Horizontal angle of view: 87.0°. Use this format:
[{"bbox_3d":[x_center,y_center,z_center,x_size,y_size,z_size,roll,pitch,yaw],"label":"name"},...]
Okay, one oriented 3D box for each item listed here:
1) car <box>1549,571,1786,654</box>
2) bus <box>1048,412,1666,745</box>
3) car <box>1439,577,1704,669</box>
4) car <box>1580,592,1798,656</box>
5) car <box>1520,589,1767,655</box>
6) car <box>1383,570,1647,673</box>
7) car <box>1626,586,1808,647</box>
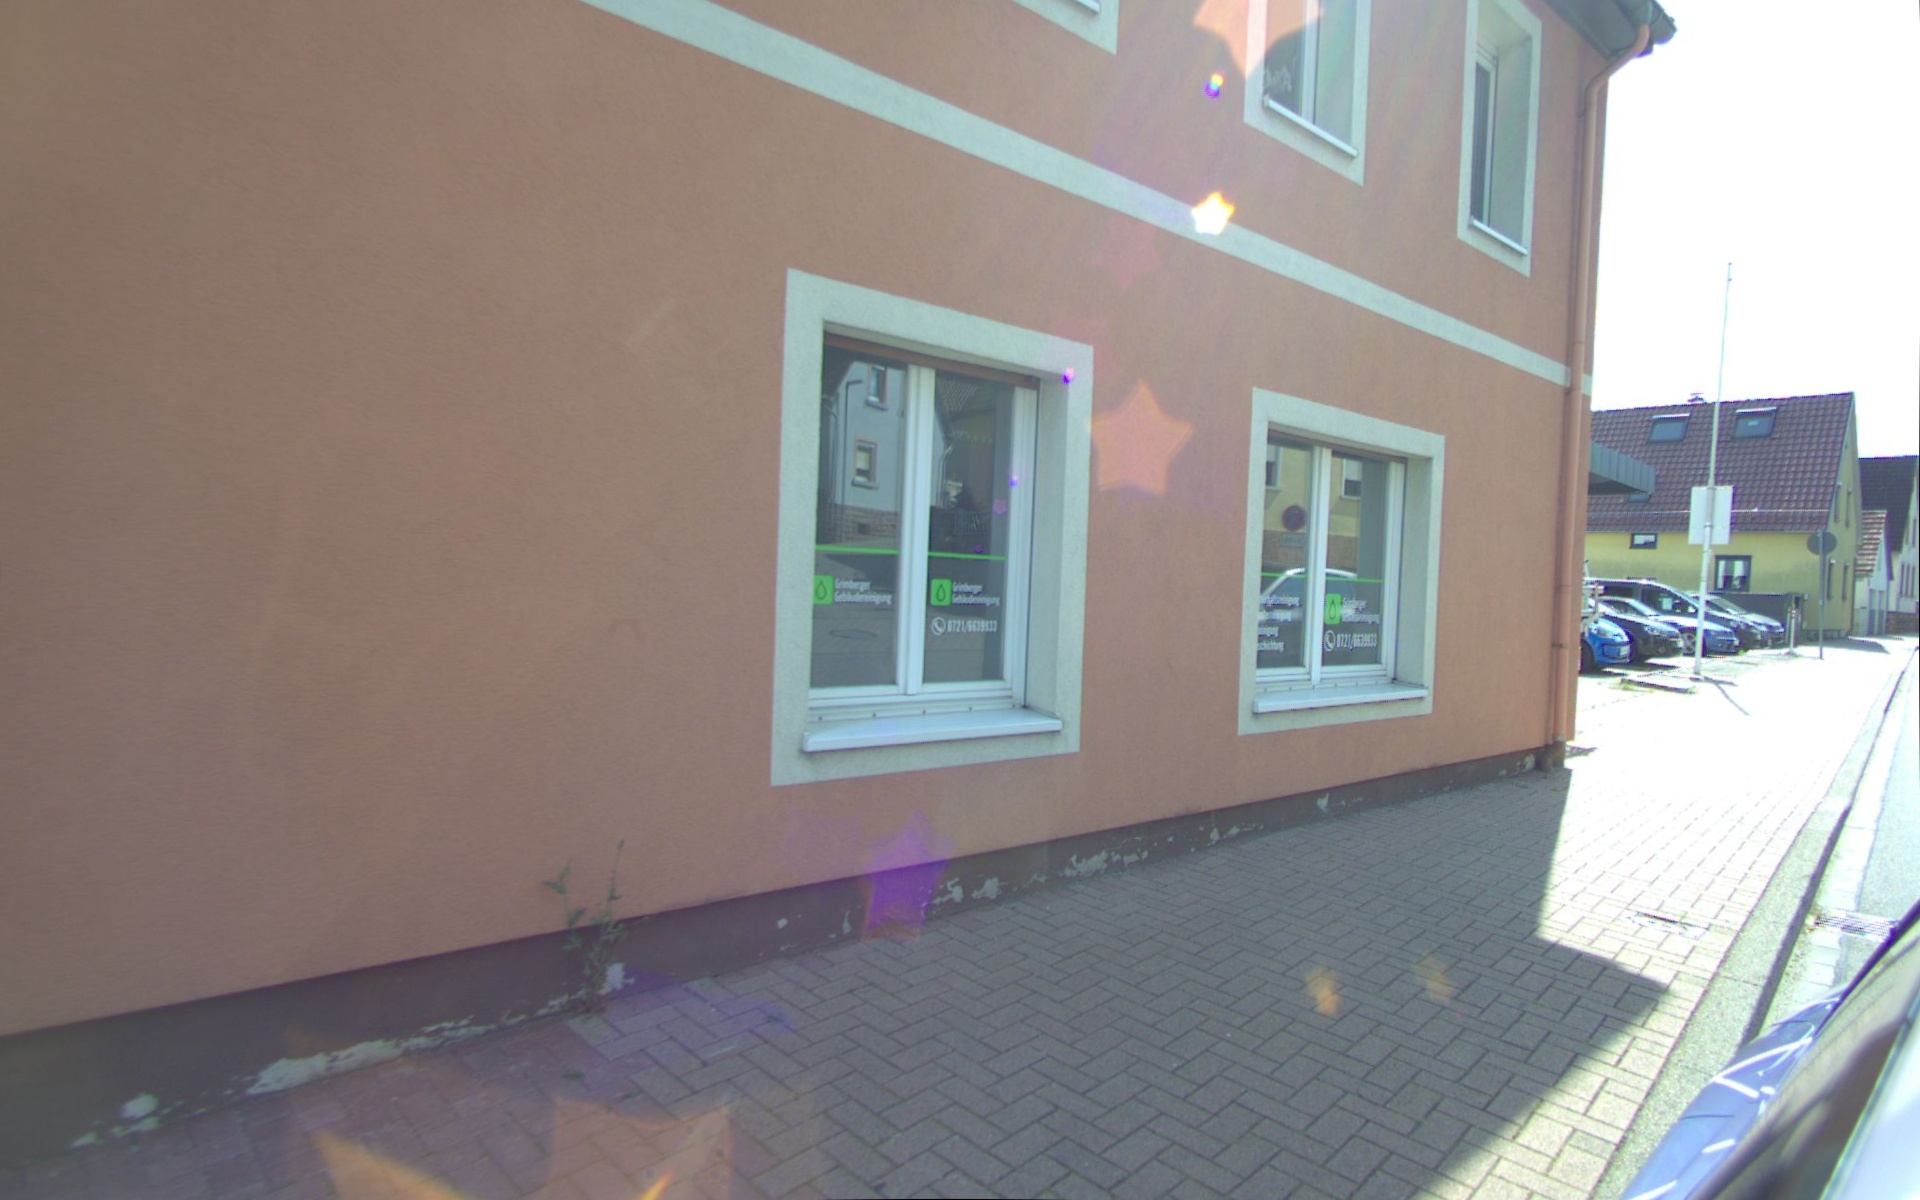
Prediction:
[{"bbox_3d":[18.134,0.231,26.147,1.931,1.832,4.645,0,3,-40],"label":"car"},{"bbox_3d":[4.214,-0.385,12.162,2.190,2.940,6.580,0,3,-41],"label":"bus"},{"bbox_3d":[12.021,0.378,20.120,1.697,1.499,4.169,1,2,-41],"label":"car"},{"bbox_3d":[20.383,0.608,28.468,1.877,1.516,4.644,1,1,-41],"label":"car"},{"bbox_3d":[16.301,0.465,24.327,1.931,1.283,4.548,1,2,-41],"label":"car"},{"bbox_3d":[9.812,0.308,18.084,1.556,1.547,3.805,1,2,-43],"label":"car"},{"bbox_3d":[24.147,0.498,32.420,1.706,1.767,4.339,-2,1,-37],"label":"car"}]
